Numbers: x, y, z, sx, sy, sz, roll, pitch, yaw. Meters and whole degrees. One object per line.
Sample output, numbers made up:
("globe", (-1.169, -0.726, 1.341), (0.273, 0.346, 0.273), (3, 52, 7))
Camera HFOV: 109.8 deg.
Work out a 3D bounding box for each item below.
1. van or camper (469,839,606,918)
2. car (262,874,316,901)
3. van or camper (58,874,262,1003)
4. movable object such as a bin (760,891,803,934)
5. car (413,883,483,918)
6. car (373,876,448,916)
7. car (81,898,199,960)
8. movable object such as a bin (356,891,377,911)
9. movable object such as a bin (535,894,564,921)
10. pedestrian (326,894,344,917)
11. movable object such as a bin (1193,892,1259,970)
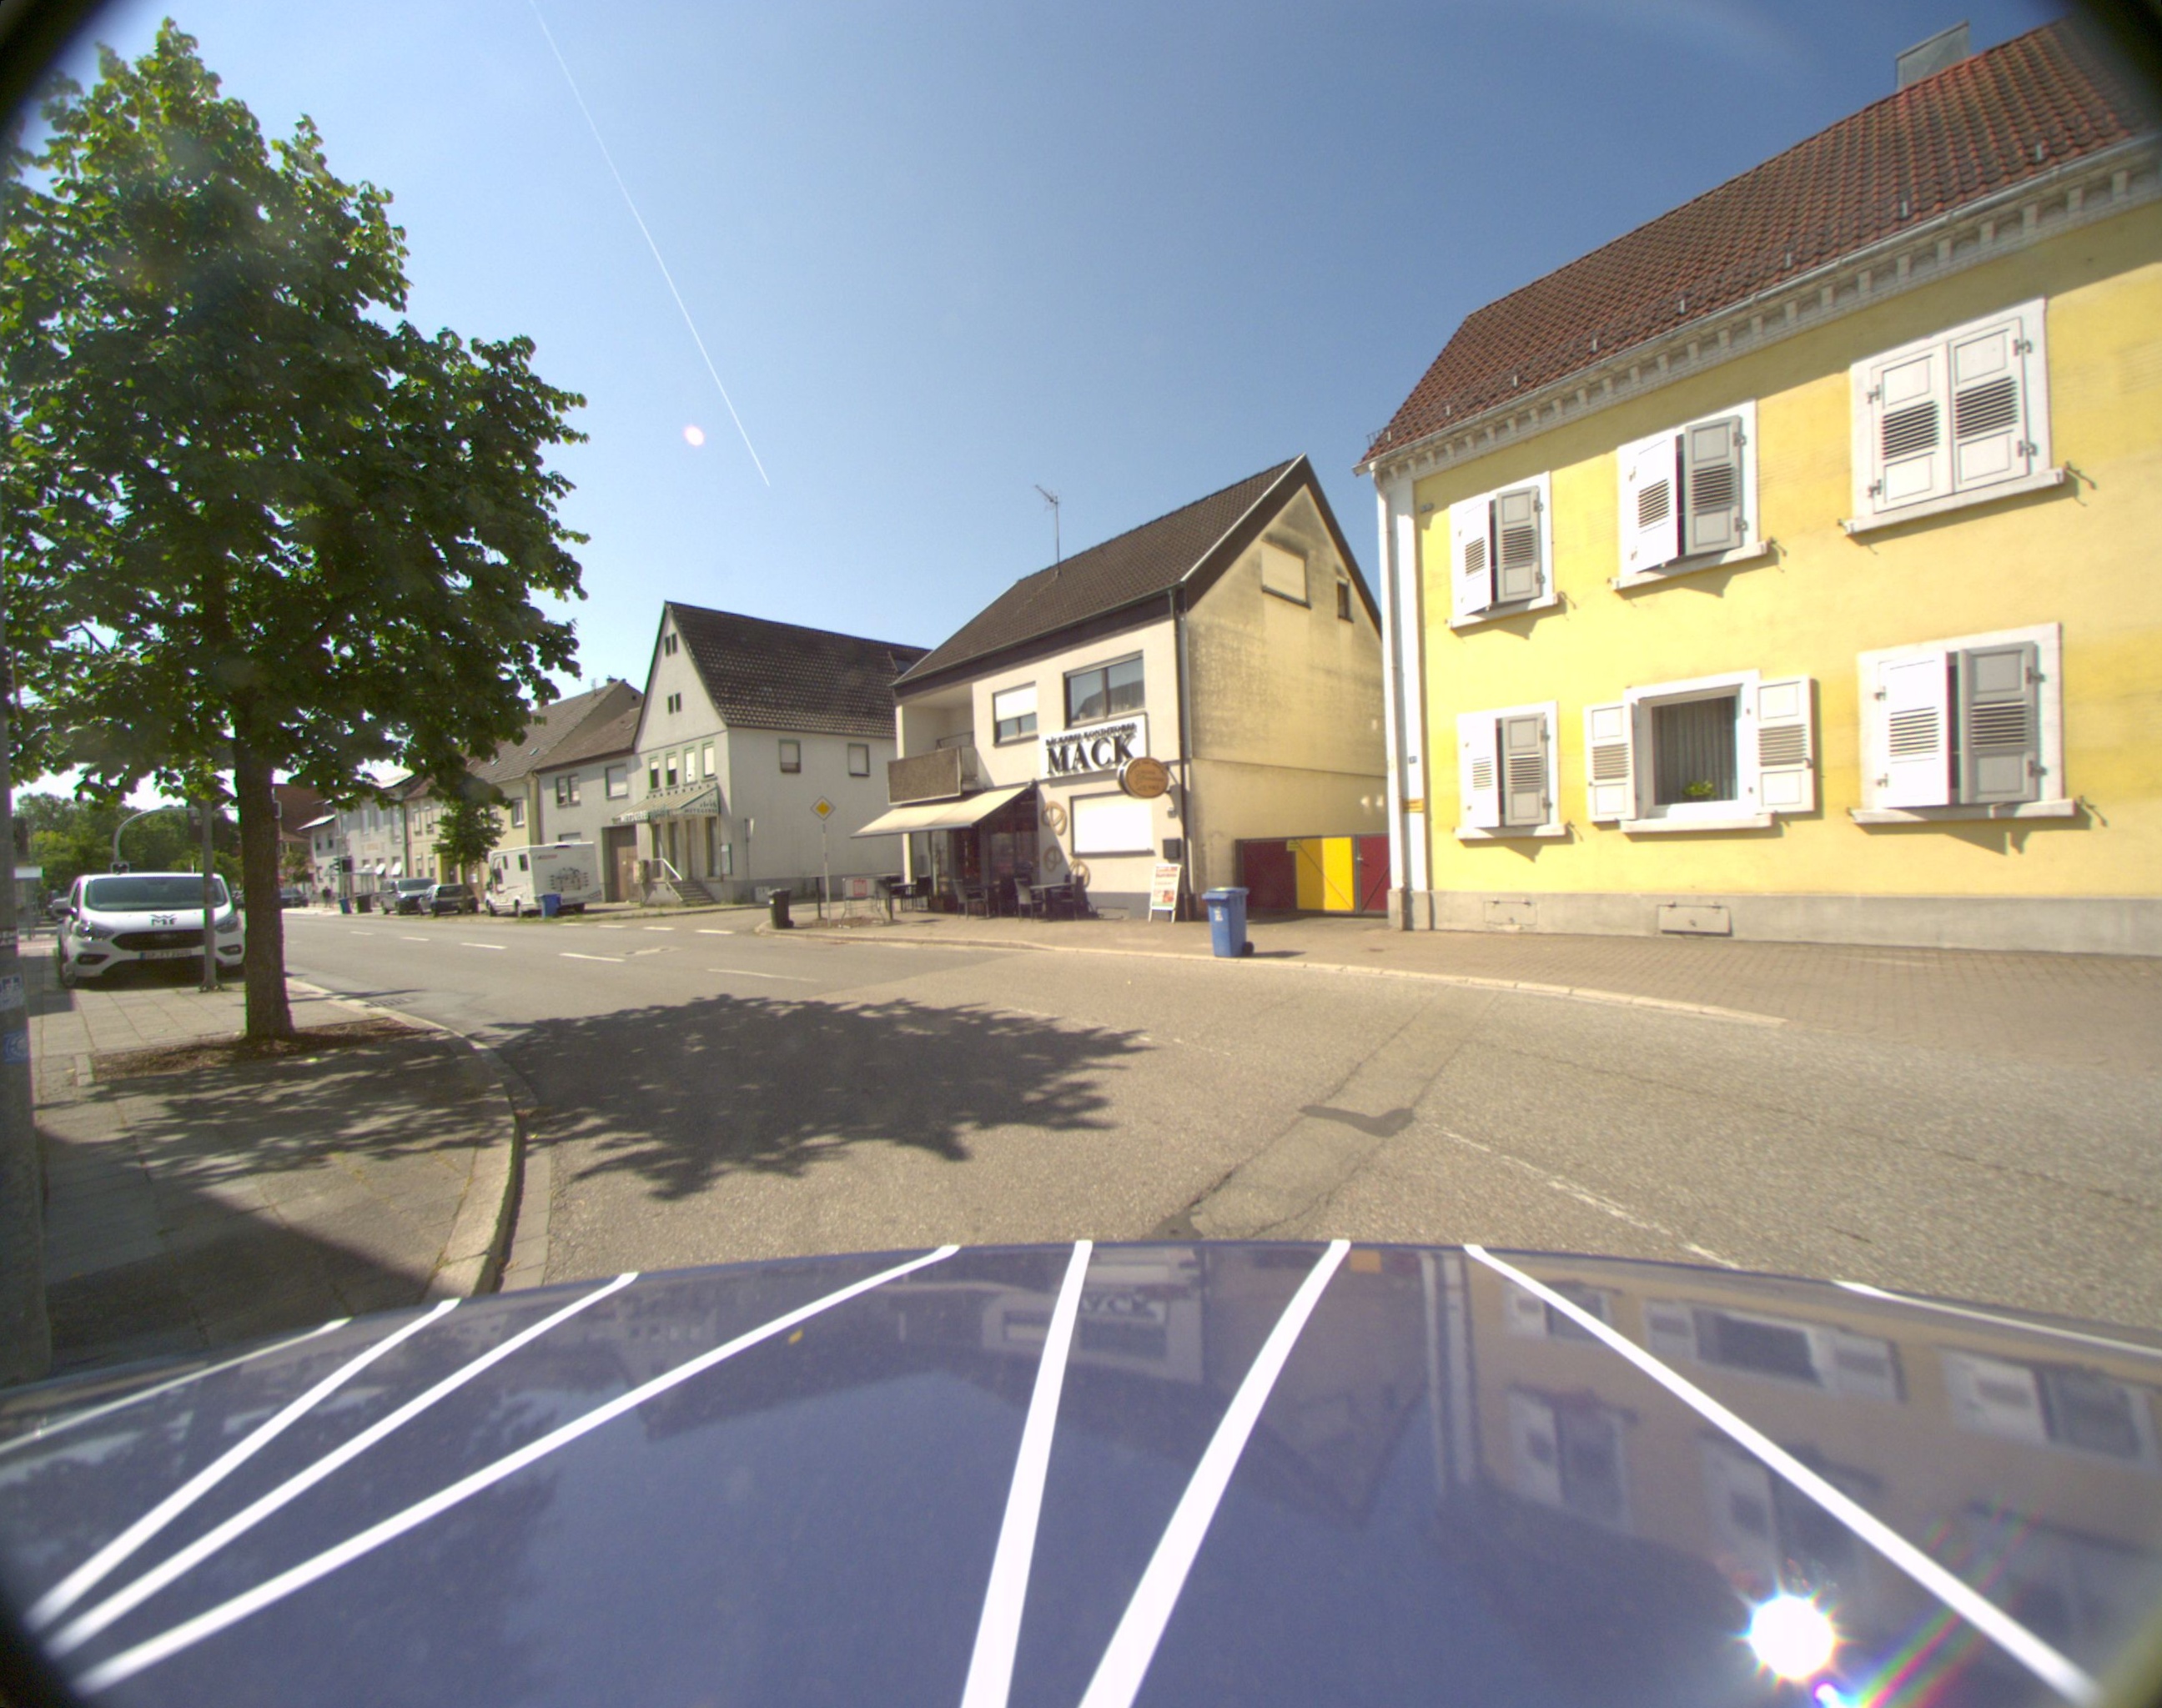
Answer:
("van or camper", (-22.645, 0.996, 31.547), (7.048, 2.888, 2.458), (-2, 1, 37))
("car", (-61.210, 2.585, 58.686), (4.943, 1.837, 2.362), (-2, 0, 38))
("van or camper", (-17.475, 1.432, 14.335), (5.331, 1.942, 2.004), (-2, 0, 35))
("movable object such as a bin", (-7.026, 1.364, 17.834), (0.612, 0.919, 0.646), (-2, 1, 36))
("car", (-30.367, 2.208, 36.420), (3.608, 1.474, 1.694), (-2, 1, 37))
("car", (-35.015, 2.137, 39.637), (4.943, 1.837, 2.004), (-2, 1, 38))
("car", (-25.789, 1.986, 20.798), (3.975, 1.419, 1.737), (-2, 0, 35))
("movable object such as a bin", (-41.361, 2.705, 43.988), (0.549, 1.061, 0.720), (-2, 2, 35))
("movable object such as a bin", (-18.724, 1.874, 26.765), (0.612, 0.867, 0.646), (-2, 2, 36))
("pedestrian", (-52.702, 3.612, 53.673), (0.579, 1.523, 0.754), (-2, 2, 35))
("movable object such as a bin", (1.985, 1.035, 10.373), (0.612, 0.975, 0.646), (-2, 1, 39))
